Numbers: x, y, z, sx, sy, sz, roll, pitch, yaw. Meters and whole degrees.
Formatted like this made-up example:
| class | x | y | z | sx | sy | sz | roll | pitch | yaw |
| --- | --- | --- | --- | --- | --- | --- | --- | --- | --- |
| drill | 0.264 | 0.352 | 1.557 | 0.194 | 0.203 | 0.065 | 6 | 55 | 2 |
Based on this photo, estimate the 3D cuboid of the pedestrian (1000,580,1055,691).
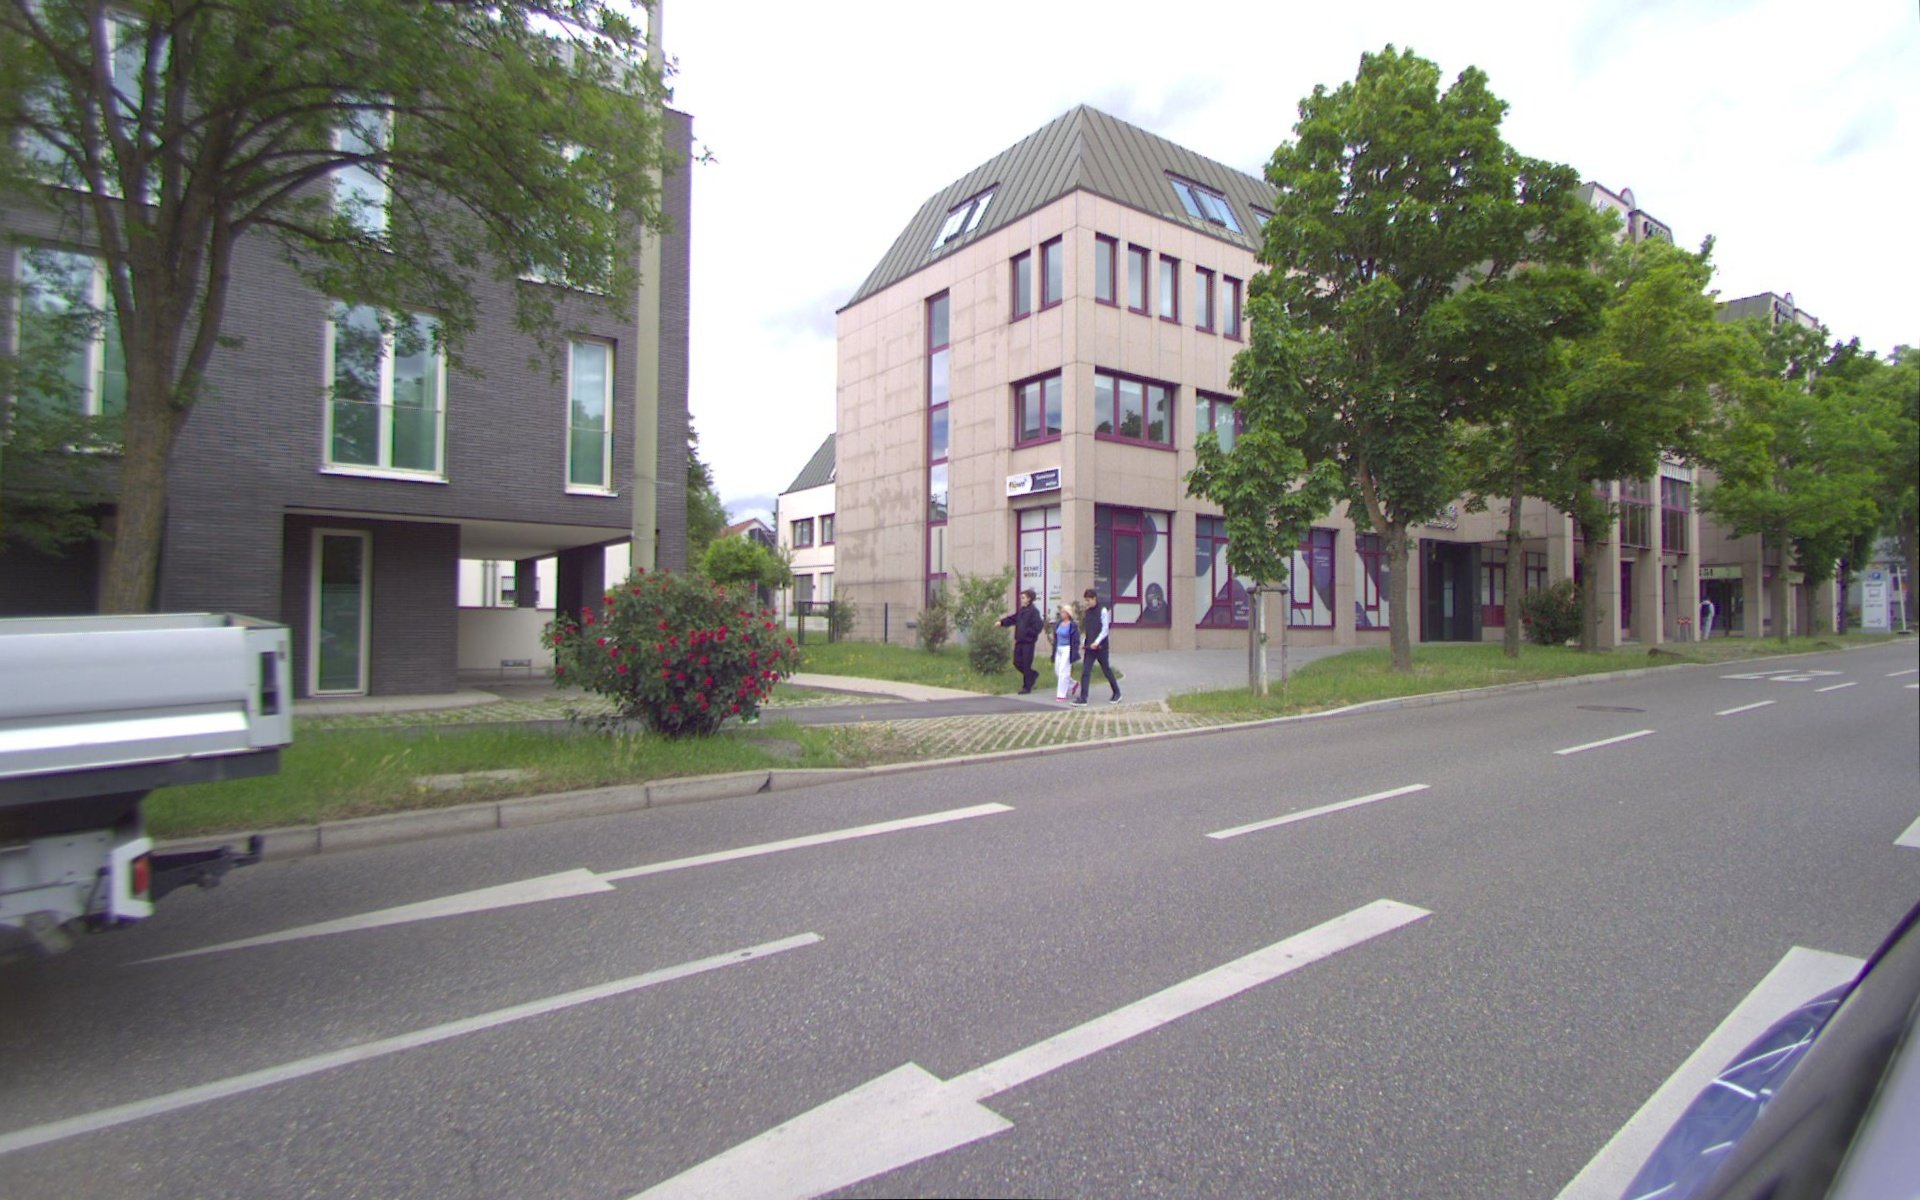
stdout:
| class | x | y | z | sx | sy | sz | roll | pitch | yaw |
| --- | --- | --- | --- | --- | --- | --- | --- | --- | --- |
| pedestrian | 1.144 | 0.578 | 17.114 | 0.665 | 1.828 | 0.642 | 0 | -1 | -40 |

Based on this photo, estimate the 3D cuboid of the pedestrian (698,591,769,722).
| class | x | y | z | sx | sy | sz | roll | pitch | yaw |
| --- | --- | --- | --- | --- | --- | --- | --- | --- | --- |
| pedestrian | -2.785 | 0.672 | 12.458 | 0.665 | 1.537 | 0.496 | 0 | 2 | -41 |

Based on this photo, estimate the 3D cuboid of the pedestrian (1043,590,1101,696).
| class | x | y | z | sx | sy | sz | roll | pitch | yaw |
| --- | --- | --- | --- | --- | --- | --- | --- | --- | --- |
| pedestrian | 1.823 | 0.679 | 16.473 | 0.665 | 1.668 | 0.642 | 0 | -1 | -40 |

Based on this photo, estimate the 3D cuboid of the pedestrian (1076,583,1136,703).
| class | x | y | z | sx | sy | sz | roll | pitch | yaw |
| --- | --- | --- | --- | --- | --- | --- | --- | --- | --- |
| pedestrian | 2.284 | 0.656 | 15.850 | 0.665 | 1.828 | 0.642 | 0 | -1 | -40 |

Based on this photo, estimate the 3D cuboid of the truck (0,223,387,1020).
| class | x | y | z | sx | sy | sz | roll | pitch | yaw |
| --- | --- | --- | --- | --- | --- | --- | --- | --- | --- |
| truck | -4.855 | 0.064 | 2.467 | 5.740 | 2.231 | 2.216 | 0 | 0 | -40 |
